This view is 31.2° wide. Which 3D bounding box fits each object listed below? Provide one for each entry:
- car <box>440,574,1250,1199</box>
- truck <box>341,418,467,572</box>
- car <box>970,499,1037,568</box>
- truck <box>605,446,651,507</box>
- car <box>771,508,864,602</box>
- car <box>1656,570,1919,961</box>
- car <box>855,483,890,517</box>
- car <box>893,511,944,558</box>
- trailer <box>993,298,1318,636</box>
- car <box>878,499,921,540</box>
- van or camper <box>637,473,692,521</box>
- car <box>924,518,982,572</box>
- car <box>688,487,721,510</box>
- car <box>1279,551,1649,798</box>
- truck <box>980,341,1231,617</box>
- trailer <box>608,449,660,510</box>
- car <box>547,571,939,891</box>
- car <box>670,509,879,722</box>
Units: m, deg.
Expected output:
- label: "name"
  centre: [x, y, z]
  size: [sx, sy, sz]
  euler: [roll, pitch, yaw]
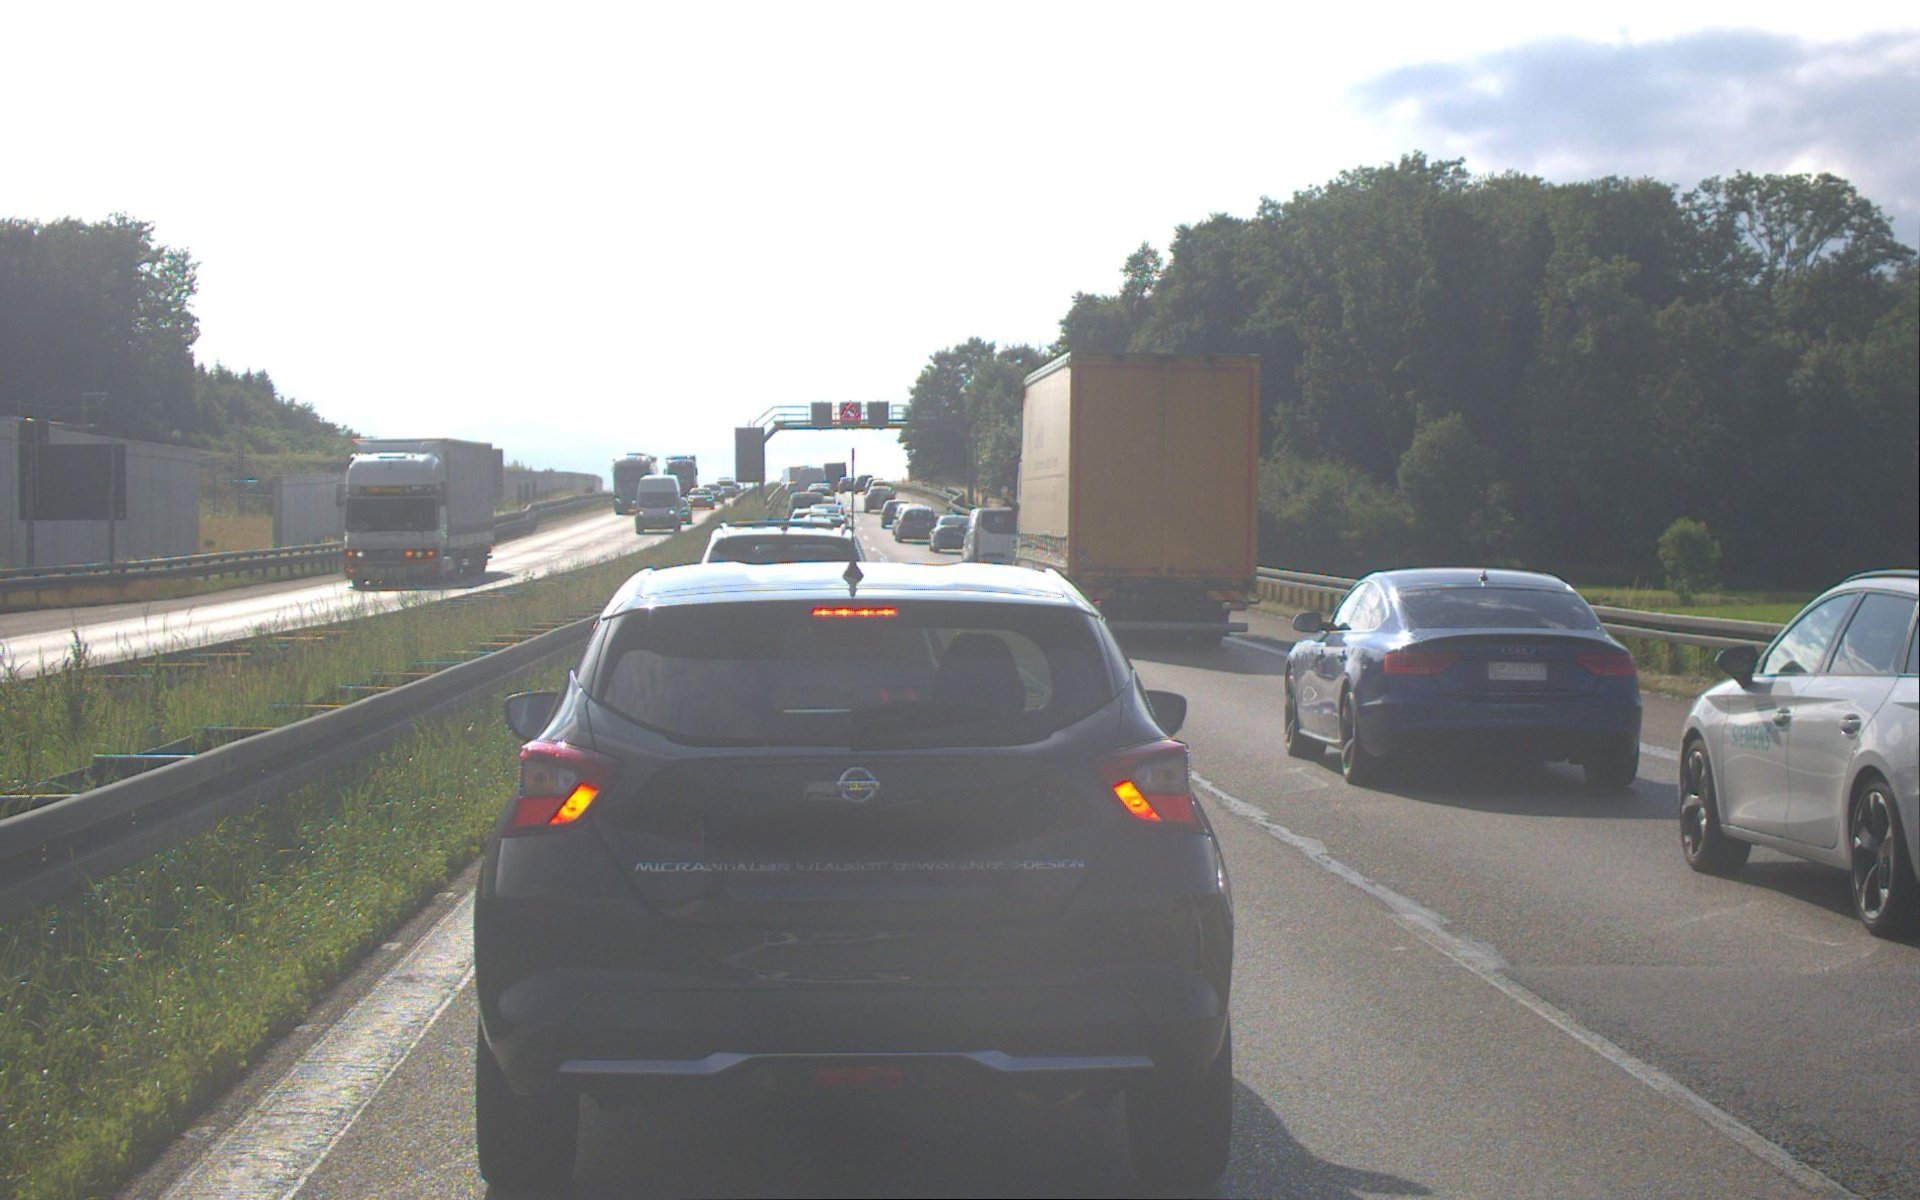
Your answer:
- label: "car"
  centre: [-0.265, 0.655, 9.016]
  size: [1.710, 1.421, 3.378]
  euler: [1, 0, -1]
- label: "truck"
  centre: [-15.399, -2.850, 95.677]
  size: [2.637, 4.084, 7.003]
  euler: [1, 1, -3]
- label: "car"
  centre: [1.125, -1.733, 90.498]
  size: [1.667, 1.748, 3.327]
  euler: [1, 1, -1]
- label: "truck"
  centre: [-21.707, -8.051, 224.733]
  size: [2.552, 3.785, 5.418]
  euler: [-1, 1, -2]
- label: "car"
  centre: [-3.204, -0.996, 76.740]
  size: [1.993, 2.007, 4.001]
  euler: [1, 1, -3]
- label: "car"
  centre: [4.263, 0.607, 14.347]
  size: [1.620, 1.440, 4.147]
  euler: [1, 0, -4]
- label: "car"
  centre: [-5.357, -6.093, 209.678]
  size: [1.993, 2.007, 4.001]
  euler: [1, 1, -3]
- label: "car"
  centre: [-1.811, -2.830, 148.967]
  size: [1.993, 2.007, 4.001]
  euler: [1, 1, -3]
- label: "trailer"
  centre: [2.667, -1.838, 52.086]
  size: [3.548, 4.442, 12.723]
  euler: [1, 1, -3]
- label: "car"
  centre: [-3.074, -4.047, 173.676]
  size: [1.993, 2.007, 4.001]
  euler: [1, 1, -3]
- label: "van or camper"
  centre: [-14.374, -4.988, 167.585]
  size: [2.166, 2.198, 6.259]
  euler: [1, 1, -1]
- label: "car"
  centre: [-0.296, -2.077, 130.970]
  size: [1.993, 2.007, 4.001]
  euler: [1, 1, -3]
- label: "car"
  centre: [-17.484, -6.938, 235.275]
  size: [1.993, 1.481, 4.398]
  euler: [1, 1, -1]
- label: "car"
  centre: [3.239, 0.431, 22.843]
  size: [1.747, 1.470, 4.147]
  euler: [1, 0, -1]
- label: "truck"
  centre: [2.351, -1.970, 58.295]
  size: [3.581, 4.364, 6.689]
  euler: [1, 1, -3]
- label: "trailer"
  centre: [-21.913, -8.087, 231.775]
  size: [2.540, 3.758, 12.542]
  euler: [-1, 1, -1]
- label: "car"
  centre: [-0.974, 0.550, 16.634]
  size: [1.674, 1.362, 3.596]
  euler: [1, 0, -1]
- label: "car"
  centre: [-1.549, 0.111, 29.790]
  size: [1.674, 1.720, 3.596]
  euler: [1, 0, -1]
